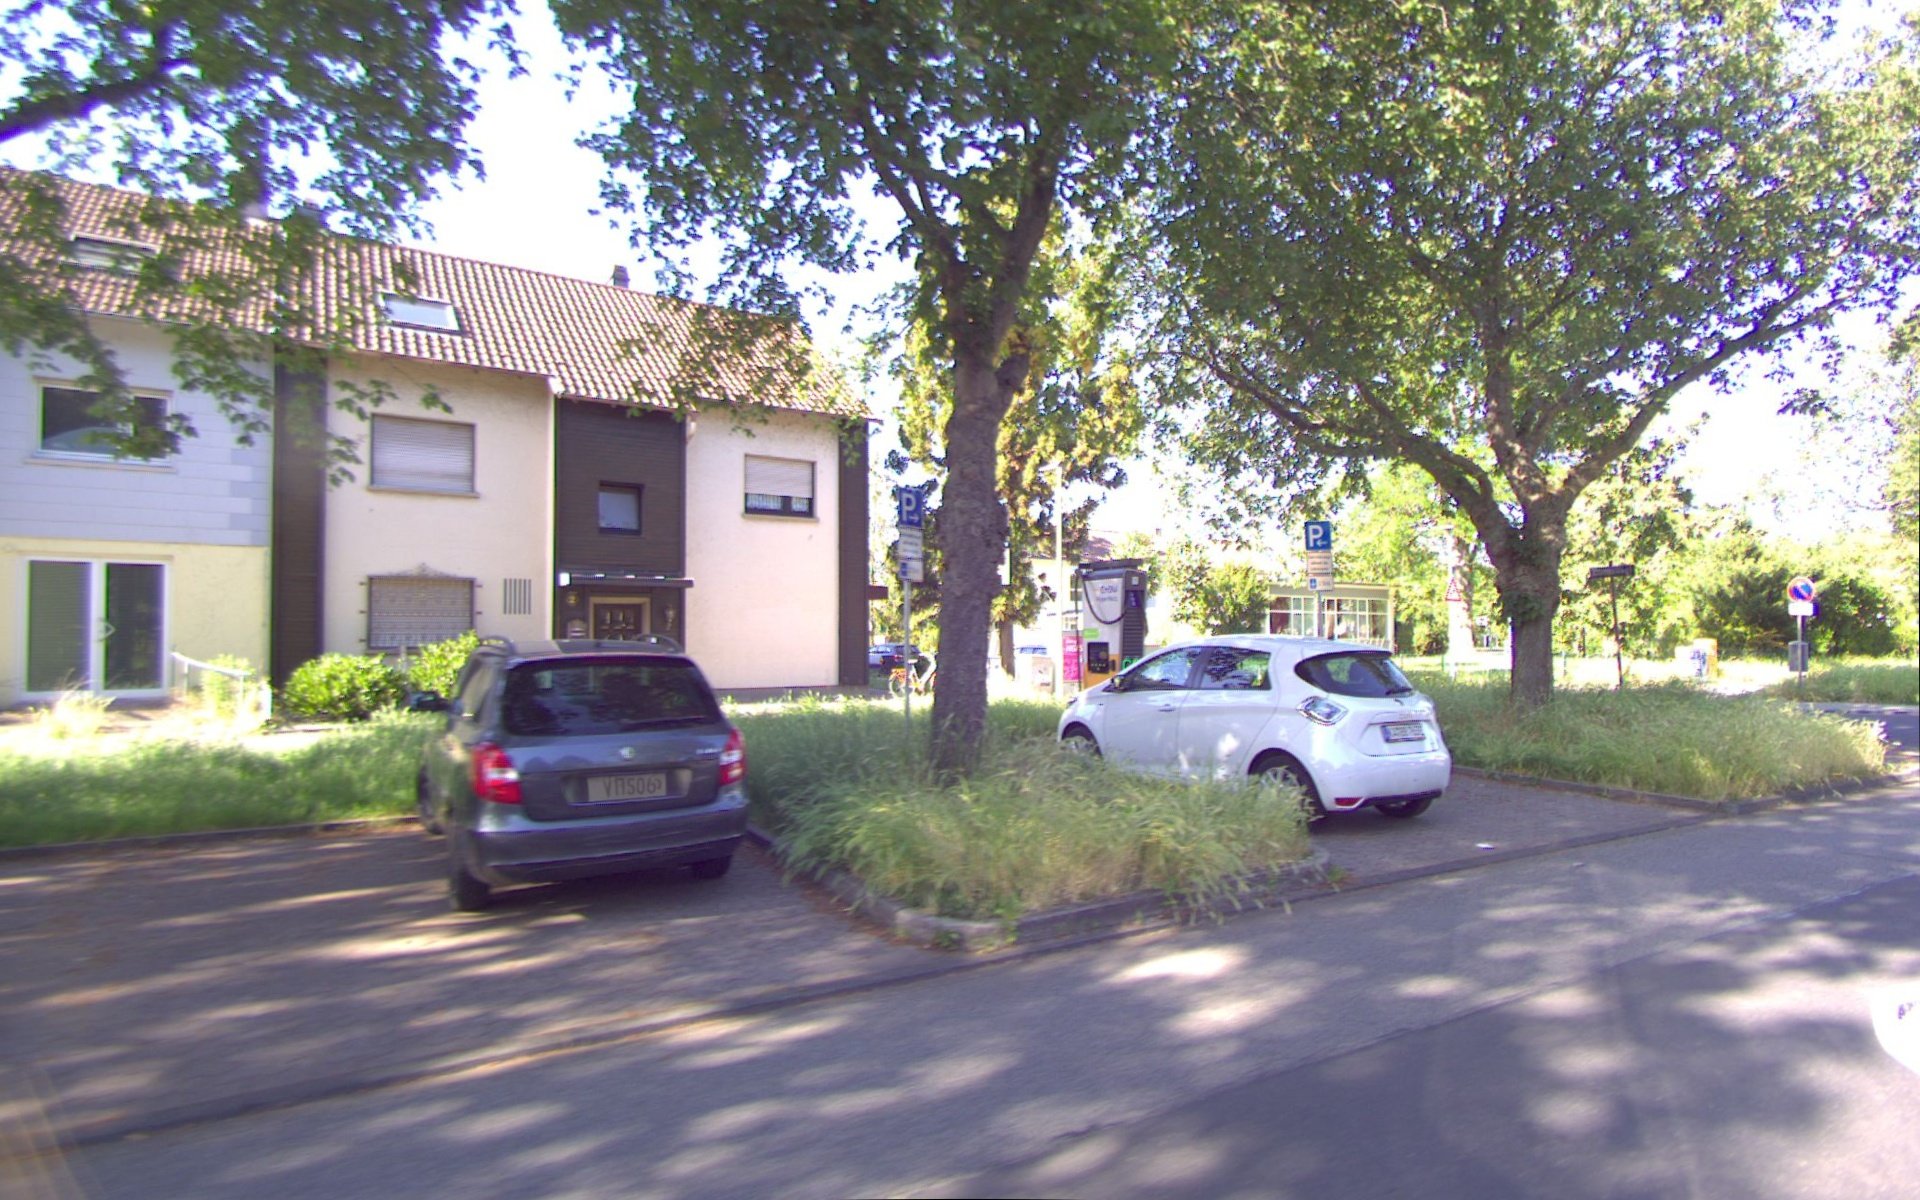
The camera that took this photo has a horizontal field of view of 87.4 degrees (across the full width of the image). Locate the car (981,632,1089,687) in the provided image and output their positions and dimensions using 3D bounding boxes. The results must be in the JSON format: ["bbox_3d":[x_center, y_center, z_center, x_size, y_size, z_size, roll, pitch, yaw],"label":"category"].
[{"bbox_3d":[2.642,2.089,36.158,1.977,1.844,3.968,1,-2,-30],"label":"car"}]

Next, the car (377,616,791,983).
[{"bbox_3d":[-2.861,0.999,6.991,1.978,1.610,3.966,2,0,-31],"label":"car"}]

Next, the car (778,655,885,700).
[{"bbox_3d":[-4.953,2.956,38.824,3.720,1.539,1.788,1,-2,-34],"label":"car"}]

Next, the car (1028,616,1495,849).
[{"bbox_3d":[2.567,1.022,9.488,1.944,1.683,3.967,1,-2,-31],"label":"car"}]

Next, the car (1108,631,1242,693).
[{"bbox_3d":[6.431,1.826,30.459,1.801,1.737,3.968,1,-2,-30],"label":"car"}]

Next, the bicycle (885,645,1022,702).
[{"bbox_3d":[-0.063,1.706,23.865,0.696,1.192,4.034,-2,-2,42],"label":"bicycle"}]

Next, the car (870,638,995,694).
[{"bbox_3d":[-0.912,2.013,31.535,1.982,1.385,3.957,1,1,-37],"label":"car"}]

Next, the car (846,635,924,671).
[{"bbox_3d":[-3.398,2.351,44.963,1.977,1.560,3.969,1,-3,-30],"label":"car"}]
